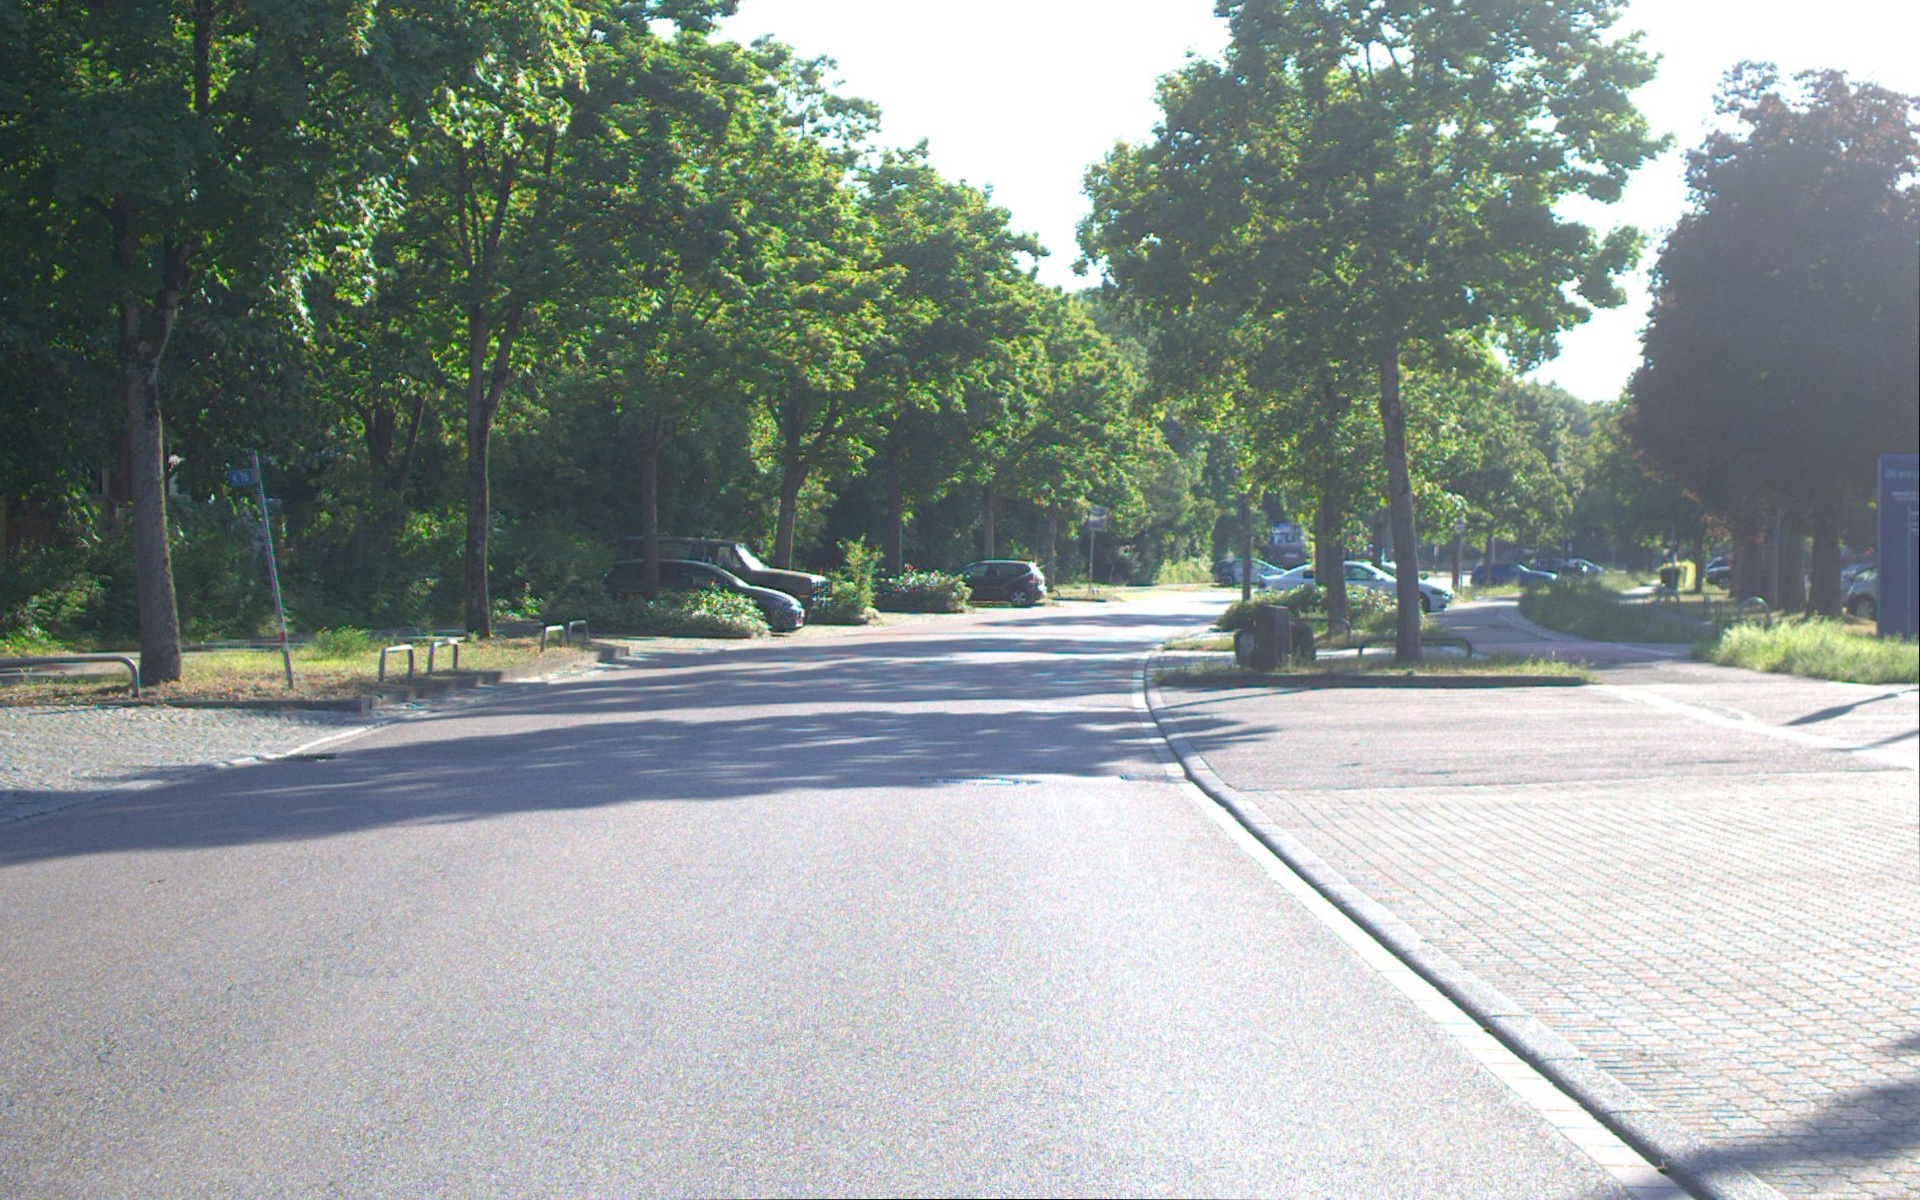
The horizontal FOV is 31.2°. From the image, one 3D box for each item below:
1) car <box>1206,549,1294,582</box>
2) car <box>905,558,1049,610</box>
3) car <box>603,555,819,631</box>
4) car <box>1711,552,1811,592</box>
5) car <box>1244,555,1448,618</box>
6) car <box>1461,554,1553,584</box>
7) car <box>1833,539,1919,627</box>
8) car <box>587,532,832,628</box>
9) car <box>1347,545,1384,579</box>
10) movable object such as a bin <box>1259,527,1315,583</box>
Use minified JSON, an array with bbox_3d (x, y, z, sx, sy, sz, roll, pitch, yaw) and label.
[{"bbox_3d":[15.496,-1.829,183.489,4.361,1.542,1.999,3,1,13],"label":"car"},{"bbox_3d":[0.559,-0.533,111.507,4.360,1.474,1.999,3,1,9],"label":"car"},{"bbox_3d":[-5.123,-0.151,71.002,4.212,1.525,1.705,0,1,5],"label":"car"},{"bbox_3d":[37.872,-1.322,162.631,4.432,1.700,2.058,3,1,11],"label":"car"},{"bbox_3d":[10.008,-0.363,89.137,5.176,1.568,2.157,0,1,7],"label":"car"},{"bbox_3d":[30.256,-1.723,190.032,4.844,1.474,1.999,3,1,13],"label":"car"},{"bbox_3d":[22.268,-0.355,77.427,1.994,1.927,4.954,0,2,-34],"label":"car"},{"bbox_3d":[-5.419,-0.444,74.716,5.005,2.013,2.174,0,1,5],"label":"car"},{"bbox_3d":[28.791,-2.710,244.278,2.517,2.378,4.372,0,1,5],"label":"car"},{"bbox_3d":[18.664,-2.558,195.760,2.839,3.058,4.925,3,1,8],"label":"movable object such as a bin"}]
